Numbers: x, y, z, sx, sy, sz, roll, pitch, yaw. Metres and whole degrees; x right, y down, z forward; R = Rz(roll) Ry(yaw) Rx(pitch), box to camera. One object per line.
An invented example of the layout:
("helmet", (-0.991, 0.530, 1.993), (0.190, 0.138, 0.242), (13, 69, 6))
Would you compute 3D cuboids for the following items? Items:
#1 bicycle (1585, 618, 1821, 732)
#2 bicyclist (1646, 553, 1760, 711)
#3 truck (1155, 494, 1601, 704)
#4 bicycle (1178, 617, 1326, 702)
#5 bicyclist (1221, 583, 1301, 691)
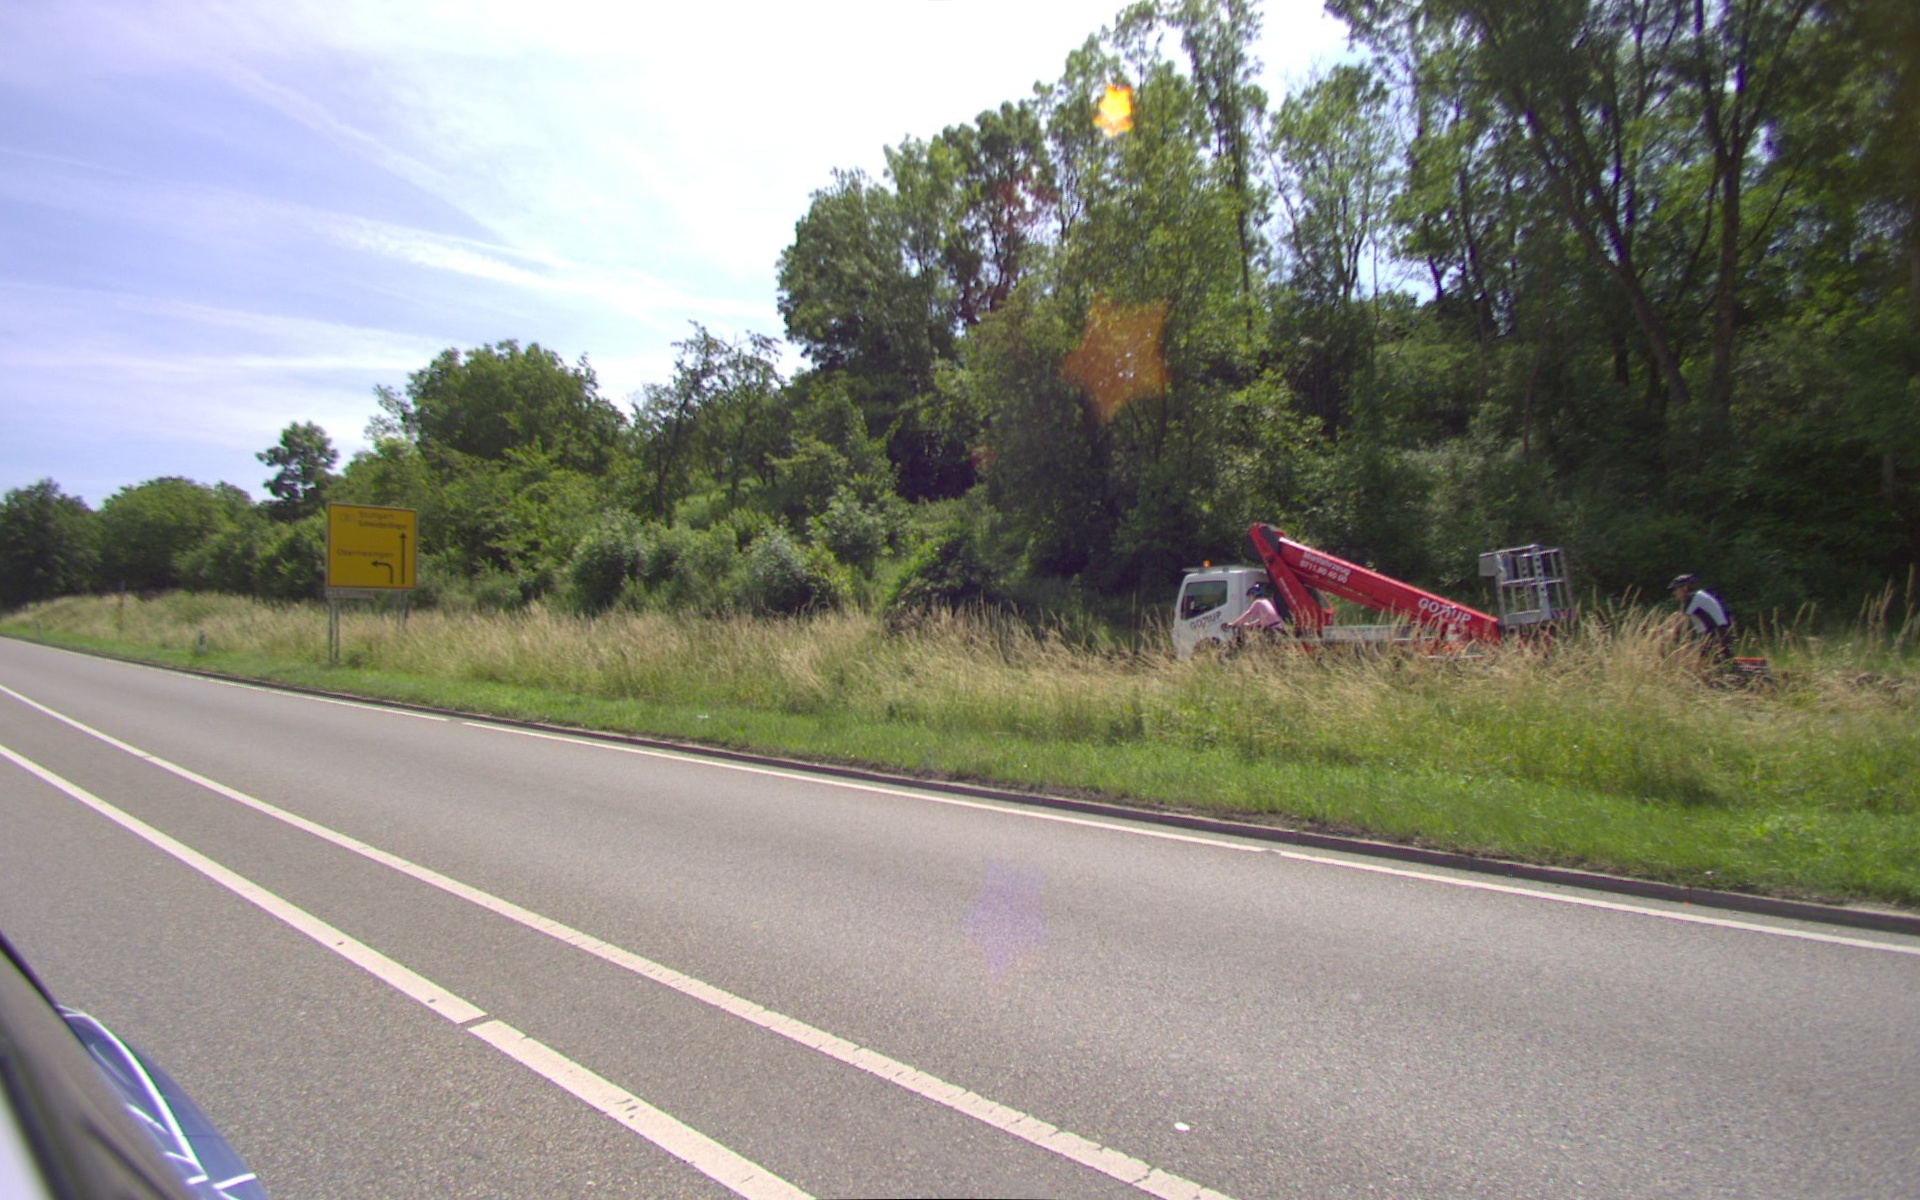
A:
("bicycle", (8.570, 0.821, 11.757), (0.740, 1.189, 2.106), (-1, 0, -45))
("bicyclist", (8.597, 0.353, 11.711), (0.936, 1.727, 0.739), (-2, 0, 45))
("truck", (6.832, 0.031, 17.400), (6.774, 2.986, 2.004), (-2, 0, 44))
("bicycle", (4.535, 0.900, 15.827), (2.105, 1.221, 0.740), (-2, 0, 43))
("bicyclist", (4.668, 0.557, 15.701), (0.936, 1.607, 0.740), (-2, 0, 43))
